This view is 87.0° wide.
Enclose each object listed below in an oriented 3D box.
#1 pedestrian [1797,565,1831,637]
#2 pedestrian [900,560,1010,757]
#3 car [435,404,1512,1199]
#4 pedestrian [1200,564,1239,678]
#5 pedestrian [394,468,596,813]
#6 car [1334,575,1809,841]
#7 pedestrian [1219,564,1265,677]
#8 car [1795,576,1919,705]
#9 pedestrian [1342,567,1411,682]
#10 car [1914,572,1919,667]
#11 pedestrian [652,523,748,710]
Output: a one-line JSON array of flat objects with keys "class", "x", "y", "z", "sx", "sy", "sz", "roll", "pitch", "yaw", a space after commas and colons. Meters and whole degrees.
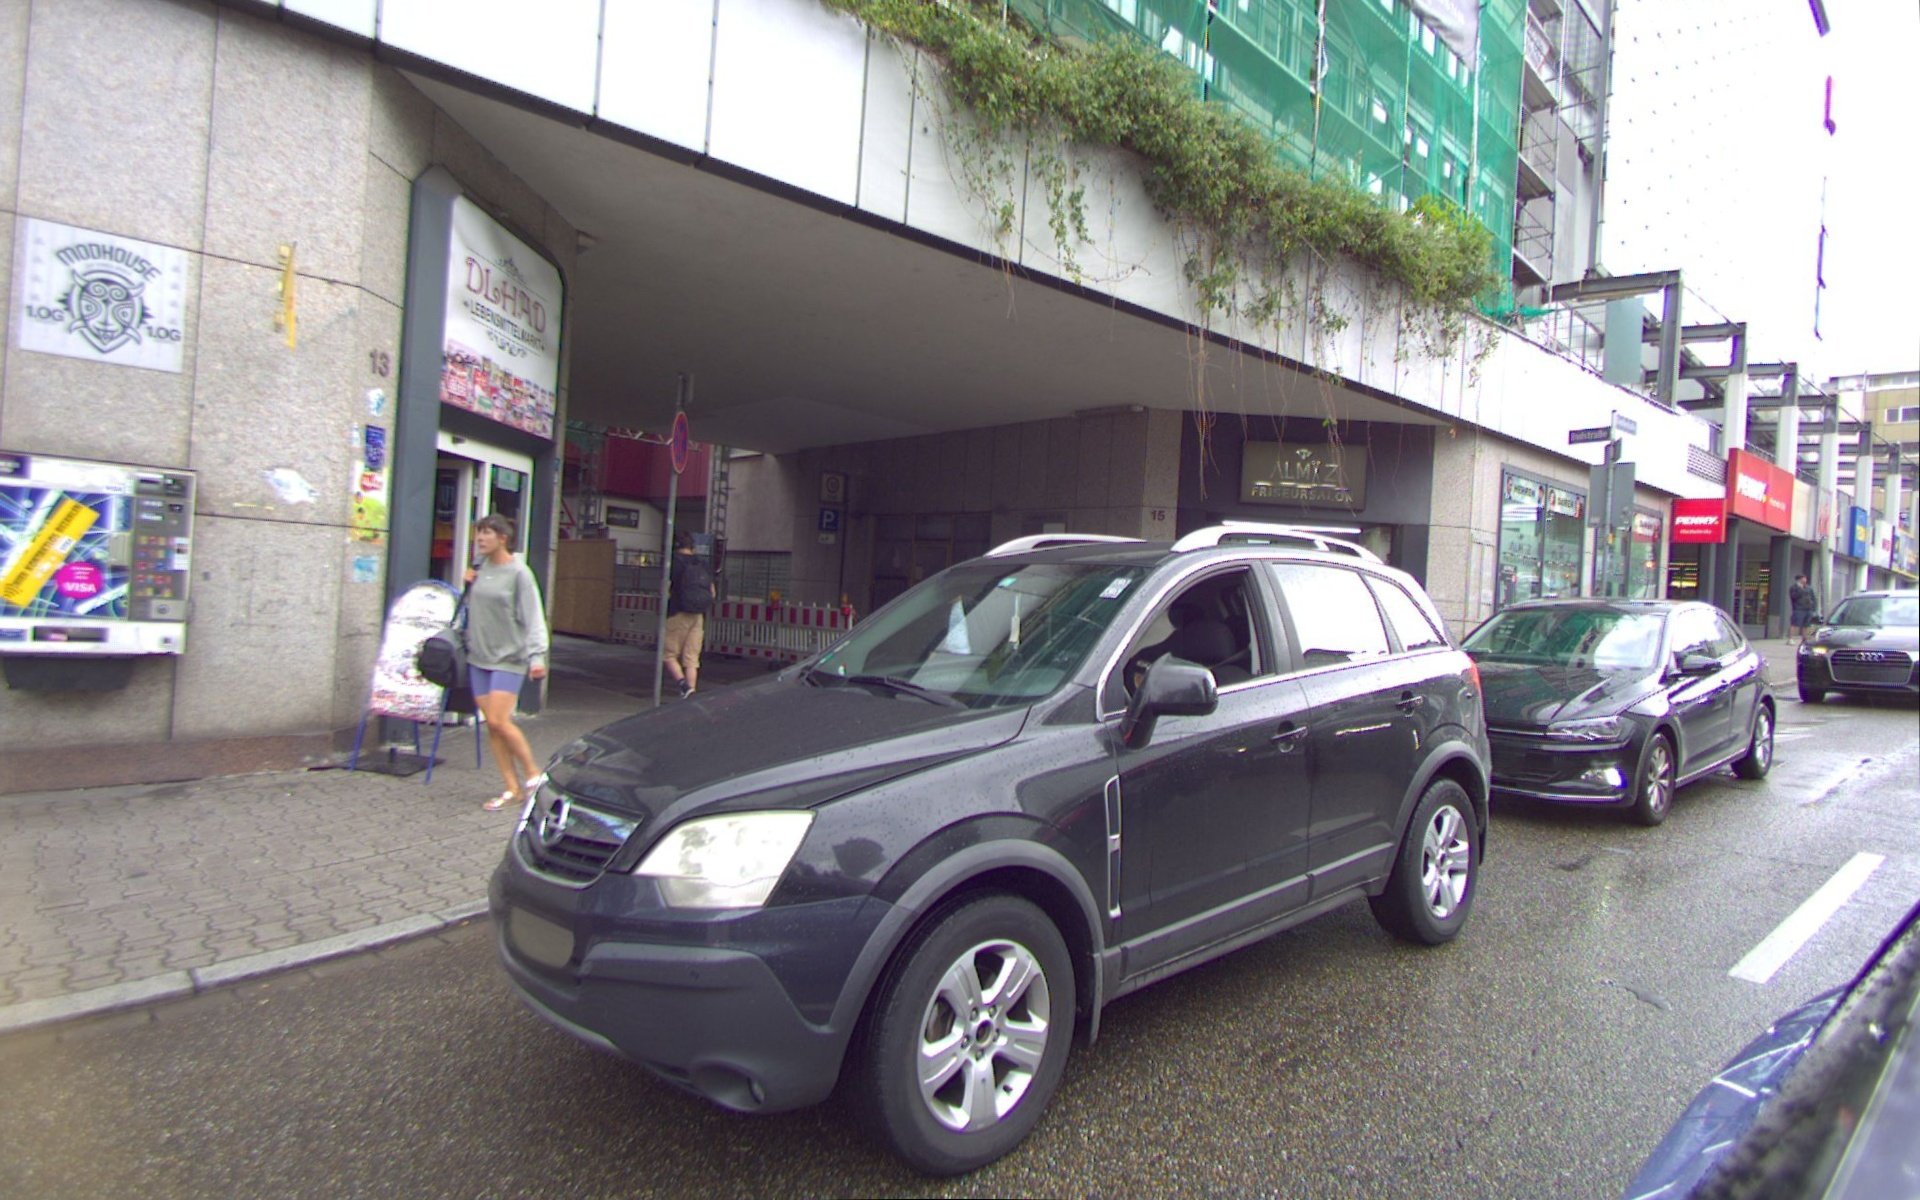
[{"class": "pedestrian", "x": 20.532, "y": 0.016, "z": 24.330, "sx": 0.570, "sy": 1.699, "sz": 0.509, "roll": -1, "pitch": 3, "yaw": -42}, {"class": "pedestrian", "x": -0.052, "y": 0.540, "z": 10.045, "sx": 0.760, "sy": 1.838, "sz": 0.743, "roll": 0, "pitch": 3, "yaw": -40}, {"class": "car", "x": 0.409, "y": 0.528, "z": 3.977, "sx": 4.090, "sy": 1.788, "sz": 1.763, "roll": 1, "pitch": 0, "yaw": -41}, {"class": "pedestrian", "x": 3.997, "y": 0.313, "z": 15.602, "sx": 0.474, "sy": 1.729, "sz": 0.467, "roll": 0, "pitch": 0, "yaw": 1}, {"class": "pedestrian", "x": -2.697, "y": 0.186, "z": 5.904, "sx": 0.734, "sy": 1.837, "sz": 0.769, "roll": 4, "pitch": 4, "yaw": 18}, {"class": "car", "x": 4.817, "y": 0.635, "z": 7.757, "sx": 4.086, "sy": 1.523, "sz": 1.759, "roll": 1, "pitch": 0, "yaw": -38}, {"class": "pedestrian", "x": 4.137, "y": 0.283, "z": 14.857, "sx": 0.630, "sy": 1.615, "sz": 0.574, "roll": 0, "pitch": 1, "yaw": 17}, {"class": "car", "x": 13.528, "y": 0.494, "z": 14.359, "sx": 4.089, "sy": 1.628, "sz": 1.841, "roll": -1, "pitch": 1, "yaw": -39}, {"class": "pedestrian", "x": 6.224, "y": 0.350, "z": 15.151, "sx": 0.626, "sy": 1.663, "sz": 0.735, "roll": -1, "pitch": 1, "yaw": -17}, {"class": "car", "x": 19.691, "y": 0.390, "z": 19.059, "sx": 4.088, "sy": 1.728, "sz": 1.988, "roll": 1, "pitch": 0, "yaw": -39}, {"class": "pedestrian", "x": -2.721, "y": 0.144, "z": 10.551, "sx": 0.757, "sy": 1.837, "sz": 0.745, "roll": 0, "pitch": 5, "yaw": -29}]
